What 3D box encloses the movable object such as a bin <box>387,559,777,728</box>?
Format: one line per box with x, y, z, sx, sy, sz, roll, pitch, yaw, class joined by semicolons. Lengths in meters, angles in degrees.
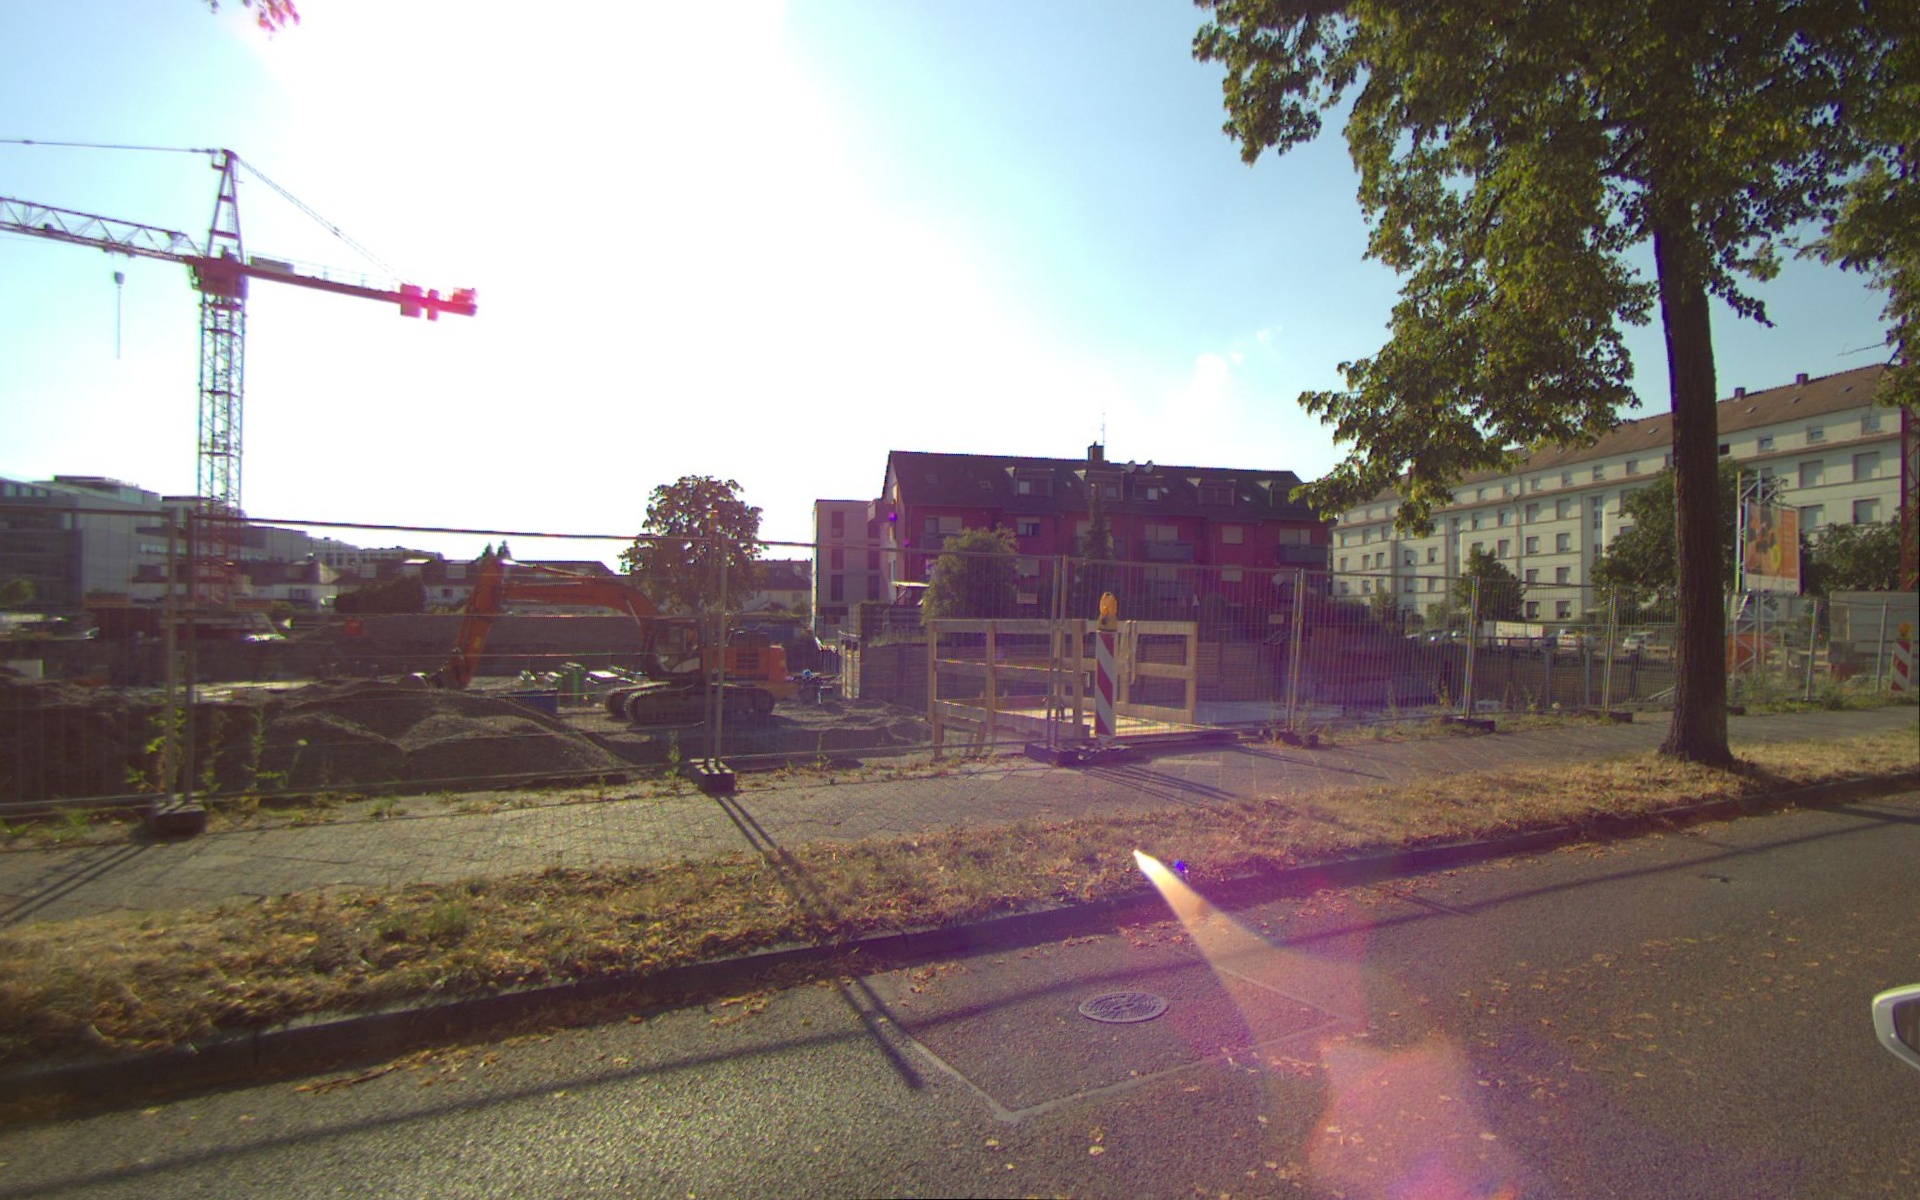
-11.776;1.365;32.498;11.346;5.057;3.017;0;-3;-7;movable object such as a bin
